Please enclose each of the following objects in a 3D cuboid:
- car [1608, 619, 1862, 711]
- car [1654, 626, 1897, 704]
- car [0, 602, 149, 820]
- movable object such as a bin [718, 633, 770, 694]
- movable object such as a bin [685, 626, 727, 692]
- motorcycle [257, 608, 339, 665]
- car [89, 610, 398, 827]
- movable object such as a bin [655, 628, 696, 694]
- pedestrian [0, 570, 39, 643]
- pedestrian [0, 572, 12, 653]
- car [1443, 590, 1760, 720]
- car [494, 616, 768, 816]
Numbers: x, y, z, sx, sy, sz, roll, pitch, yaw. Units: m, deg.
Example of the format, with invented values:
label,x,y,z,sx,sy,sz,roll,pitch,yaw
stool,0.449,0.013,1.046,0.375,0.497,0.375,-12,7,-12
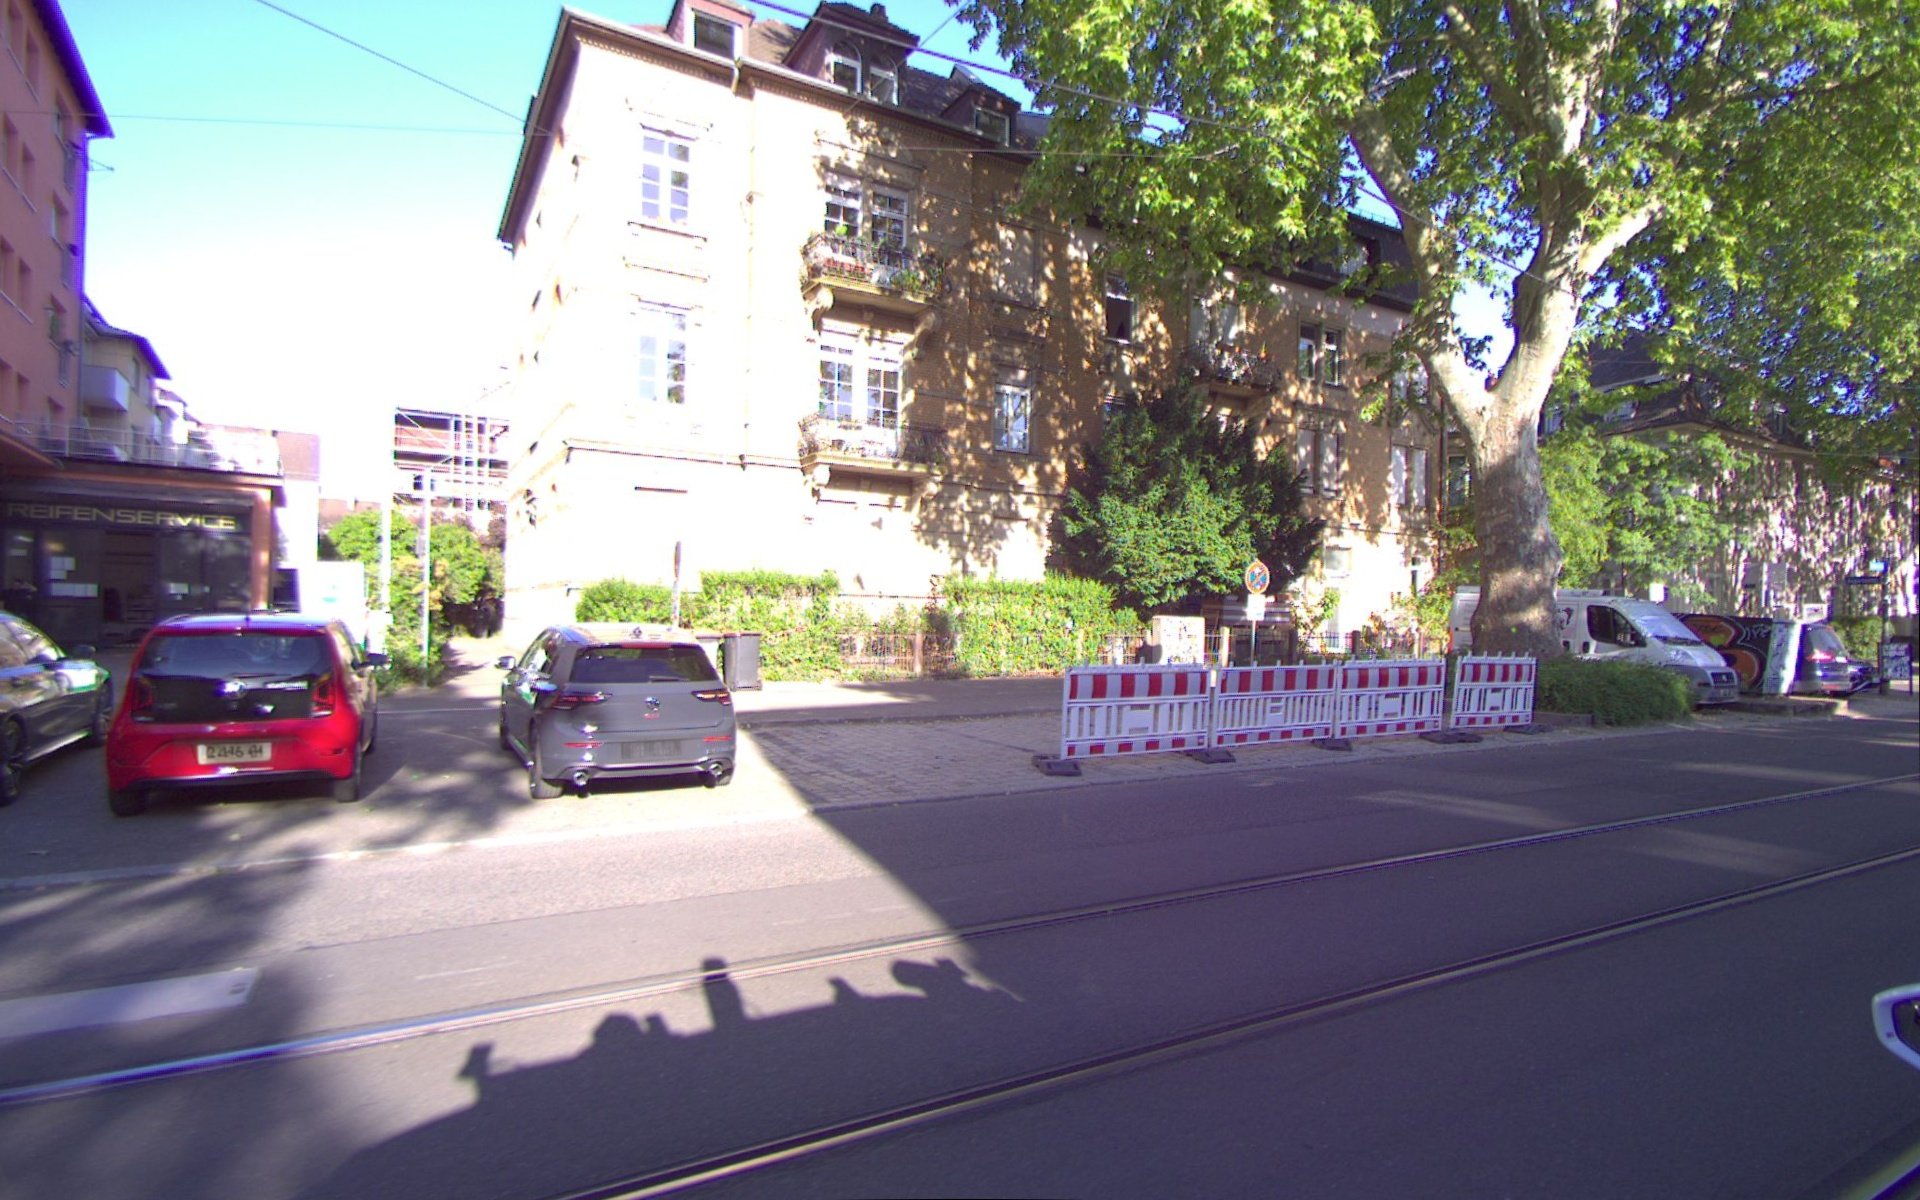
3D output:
label,x,y,z,sx,sy,sz,roll,pitch,yaw
car,17.781,1.410,23.263,1.905,1.825,4.276,1,-1,-32
car,19.934,1.519,24.742,1.905,1.628,4.276,1,-1,-32
car,-8.391,0.776,8.309,1.798,1.484,4.067,2,0,-27
movable object such as a bin,-3.885,1.126,18.048,0.727,1.036,0.719,2,0,-28
movable object such as a bin,-4.583,1.052,18.081,0.553,1.124,0.720,1,0,-28
motorcycle,-15.522,0.851,23.584,1.545,1.306,0.590,2,0,-31
car,-6.110,0.868,8.981,1.737,1.484,3.406,2,0,-27
movable object such as a bin,-5.052,1.067,17.806,0.536,1.124,0.721,1,0,-28
pedestrian,-21.886,0.153,23.368,0.543,1.682,0.500,1,0,-30
pedestrian,-21.786,0.277,22.611,0.514,1.801,0.536,1,0,-30
car,12.722,0.970,20.308,2.063,2.289,5.004,1,0,-33
car,-3.461,0.957,10.047,1.832,1.484,3.968,2,0,-30
